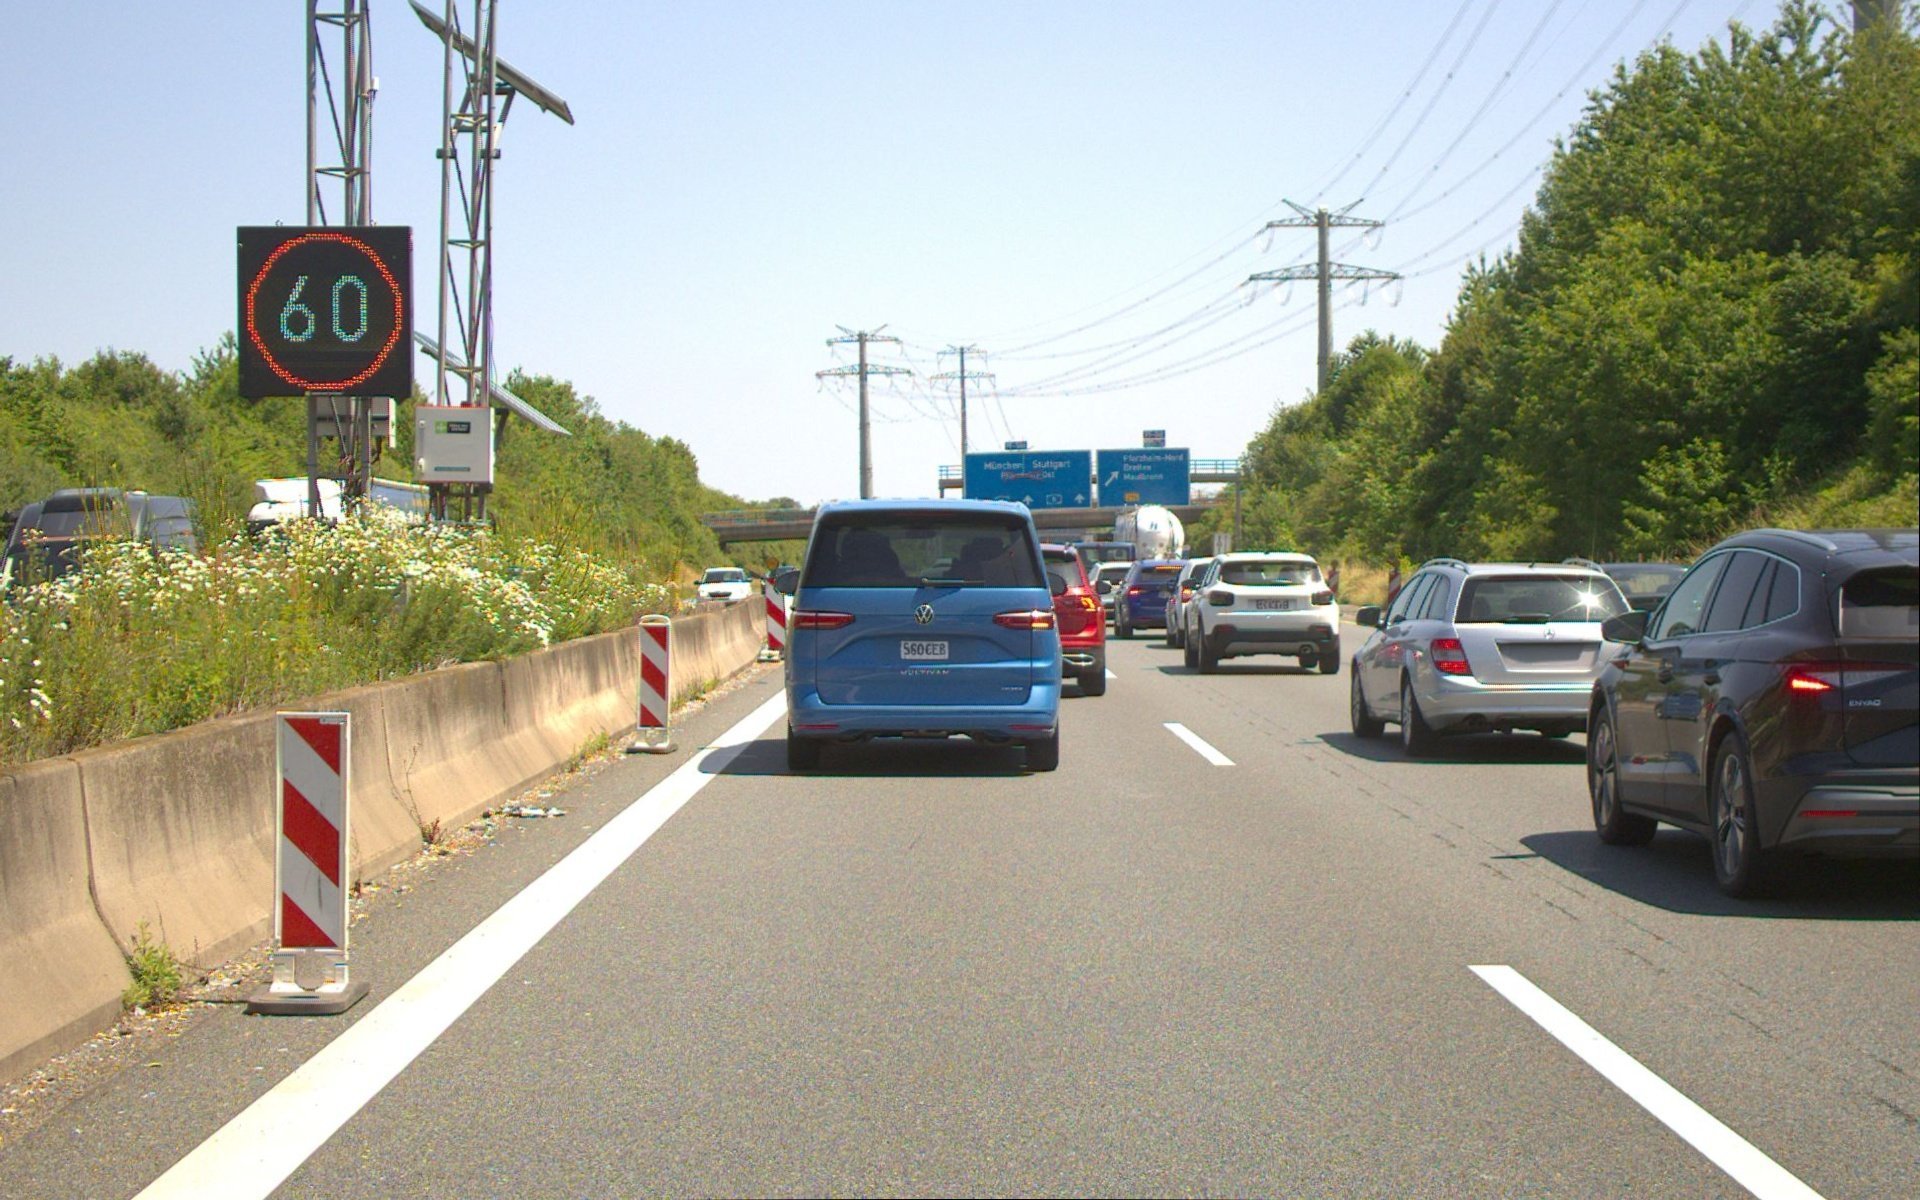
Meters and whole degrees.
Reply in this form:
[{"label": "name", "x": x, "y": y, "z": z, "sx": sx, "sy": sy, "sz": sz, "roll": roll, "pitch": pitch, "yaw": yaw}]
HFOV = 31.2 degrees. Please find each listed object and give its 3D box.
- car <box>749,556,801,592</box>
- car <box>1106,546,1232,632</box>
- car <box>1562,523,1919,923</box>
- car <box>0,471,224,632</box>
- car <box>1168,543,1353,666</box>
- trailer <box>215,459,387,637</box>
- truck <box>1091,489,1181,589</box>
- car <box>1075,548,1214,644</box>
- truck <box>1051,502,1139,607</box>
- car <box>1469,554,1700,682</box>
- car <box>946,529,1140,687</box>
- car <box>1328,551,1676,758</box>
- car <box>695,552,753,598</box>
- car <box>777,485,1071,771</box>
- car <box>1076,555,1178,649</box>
[{"label": "car", "x": -8.090, "y": -1.154, "z": 151.008, "sx": 1.993, "sy": 1.540, "sz": 4.912, "roll": -1, "pitch": 1, "yaw": 0}, {"label": "car", "x": 3.853, "y": -0.228, "z": 64.110, "sx": 1.908, "sy": 1.511, "sz": 4.384, "roll": 1, "pitch": 1, "yaw": -2}, {"label": "car", "x": 4.163, "y": 0.456, "z": 16.070, "sx": 1.828, "sy": 1.609, "sz": 4.431, "roll": 0, "pitch": 1, "yaw": -1}, {"label": "car", "x": -11.834, "y": -0.677, "z": 47.896, "sx": 1.993, "sy": 2.084, "sz": 5.229, "roll": -1, "pitch": 1, "yaw": 0}, {"label": "car", "x": 3.852, "y": 0.025, "z": 44.713, "sx": 1.908, "sy": 1.503, "sz": 3.922, "roll": 1, "pitch": 1, "yaw": -2}, {"label": "trailer", "x": -15.857, "y": -1.244, "z": 83.098, "sx": 2.961, "sy": 4.043, "sz": 5.434, "roll": -2, "pitch": 1, "yaw": 0}, {"label": "truck", "x": 7.520, "y": -2.639, "z": 149.137, "sx": 2.644, "sy": 4.058, "sz": 16.442, "roll": 1, "pitch": 1, "yaw": -1}, {"label": "car", "x": 3.026, "y": -0.103, "z": 57.274, "sx": 1.908, "sy": 1.511, "sz": 4.384, "roll": 1, "pitch": 1, "yaw": -2}, {"label": "truck", "x": 3.616, "y": -1.218, "z": 92.722, "sx": 1.993, "sy": 2.714, "sz": 5.680, "roll": 1, "pitch": 1, "yaw": -1}, {"label": "car", "x": 7.177, "y": 0.172, "z": 39.928, "sx": 1.734, "sy": 1.373, "sz": 4.303, "roll": 1, "pitch": 1, "yaw": -2}, {"label": "car", "x": 0.847, "y": 0.050, "z": 37.508, "sx": 1.908, "sy": 1.625, "sz": 4.384, "roll": 0, "pitch": 1, "yaw": -1}, {"label": "car", "x": 4.065, "y": 0.358, "z": 26.477, "sx": 1.821, "sy": 1.432, "sz": 4.384, "roll": 1, "pitch": 1, "yaw": -2}, {"label": "car", "x": -7.633, "y": -0.813, "z": 111.495, "sx": 1.584, "sy": 1.438, "sz": 4.000, "roll": 1, "pitch": 1, "yaw": 0}, {"label": "car", "x": -0.351, "y": 0.156, "z": 25.042, "sx": 1.870, "sy": 1.872, "sz": 4.384, "roll": 1, "pitch": 1, "yaw": -4}, {"label": "car", "x": 3.675, "y": 0.020, "z": 76.151, "sx": 1.993, "sy": 2.007, "sz": 4.000, "roll": 1, "pitch": 1, "yaw": 0}]
